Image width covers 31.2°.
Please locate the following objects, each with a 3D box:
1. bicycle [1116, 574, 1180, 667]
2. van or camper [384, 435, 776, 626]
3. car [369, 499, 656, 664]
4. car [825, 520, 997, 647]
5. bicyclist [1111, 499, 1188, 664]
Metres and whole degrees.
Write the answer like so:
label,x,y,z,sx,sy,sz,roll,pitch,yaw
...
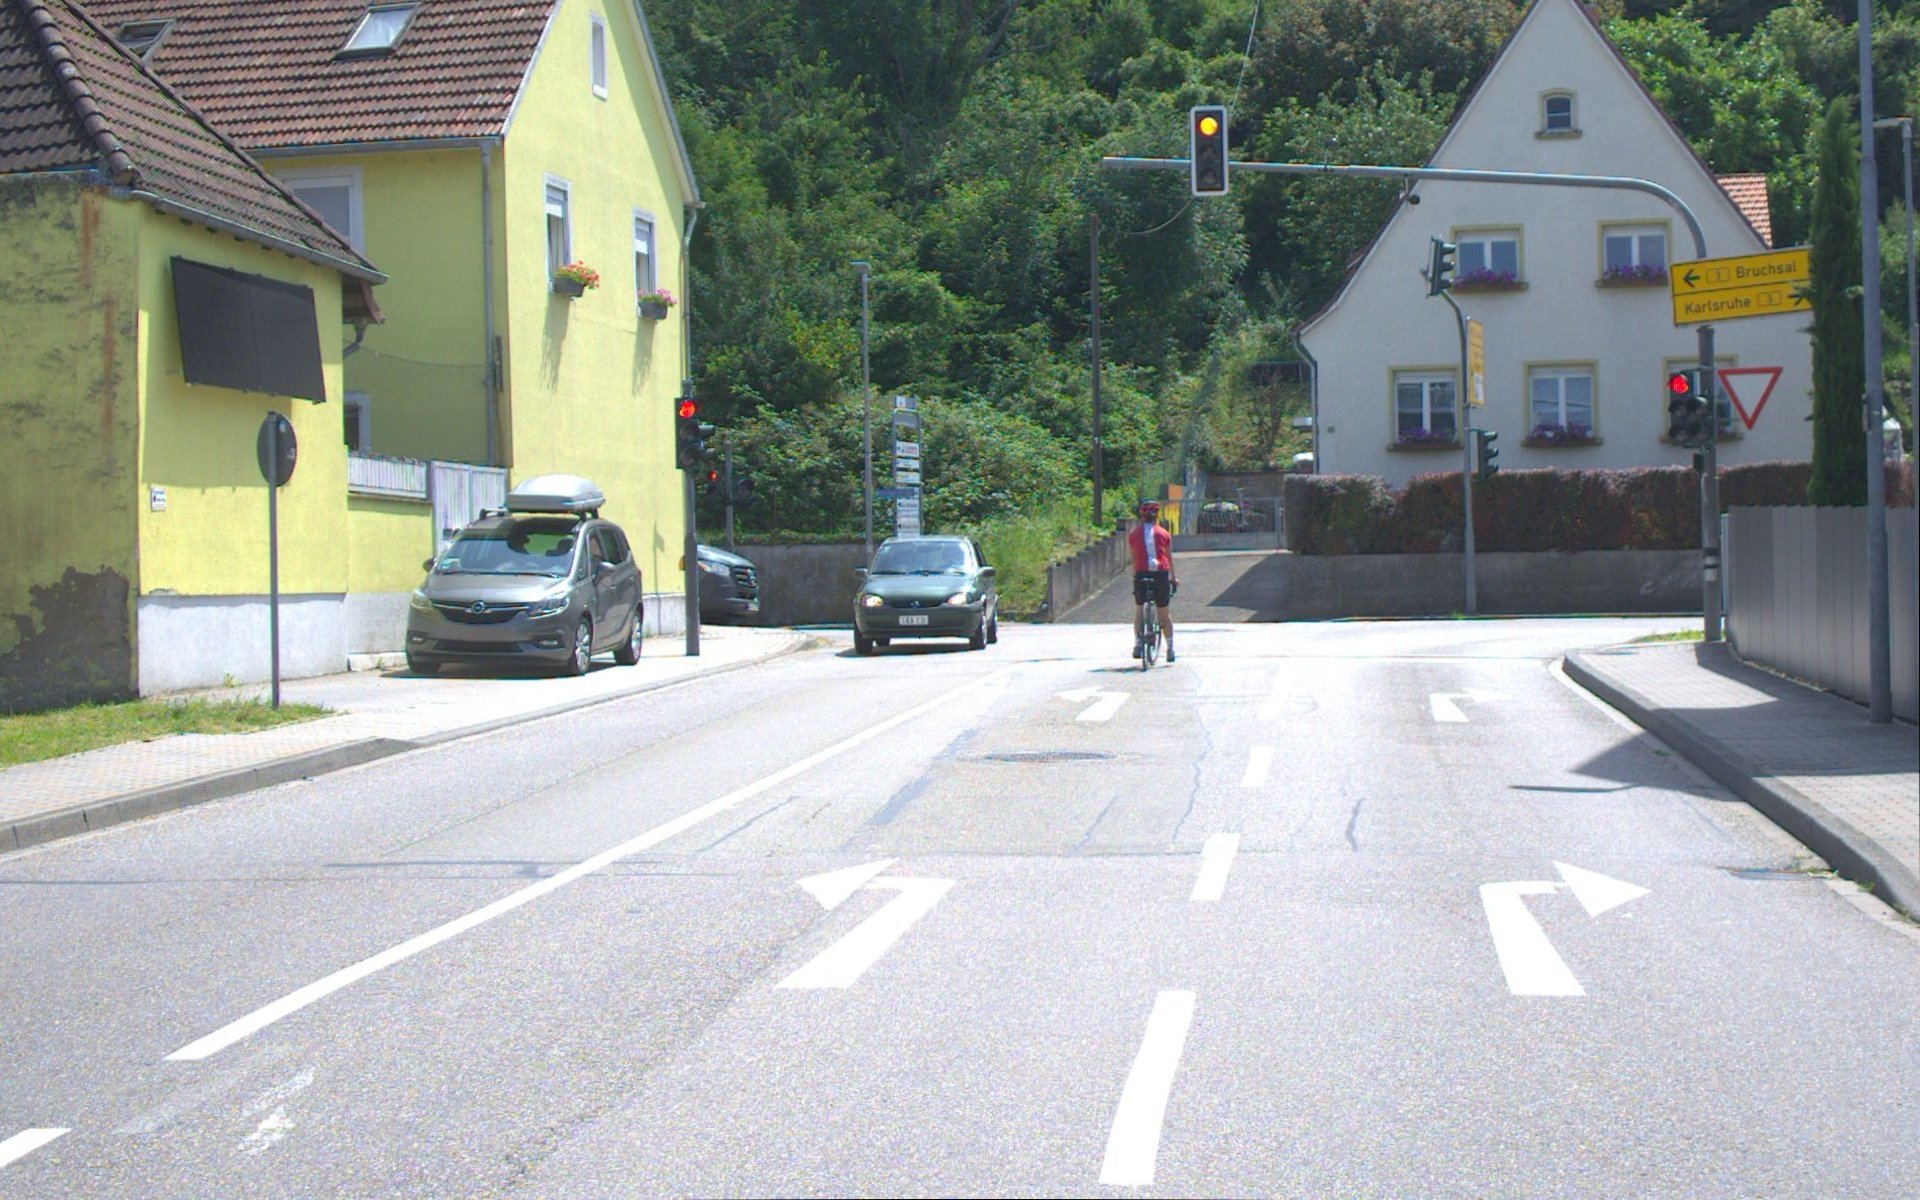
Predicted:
label,x,y,z,sx,sy,sz,roll,pitch,yaw
bicycle,1.901,0.196,34.893,0.630,0.902,1.657,0,1,3
van or camper,-6.247,-1.121,56.673,5.996,2.994,2.217,-1,1,14
car,-4.690,-0.242,36.741,1.994,1.630,4.629,1,1,6
car,-0.561,-0.233,42.467,1.780,1.428,3.872,-2,1,4
bicyclist,1.927,-0.195,34.953,0.761,1.659,0.868,0,1,4
